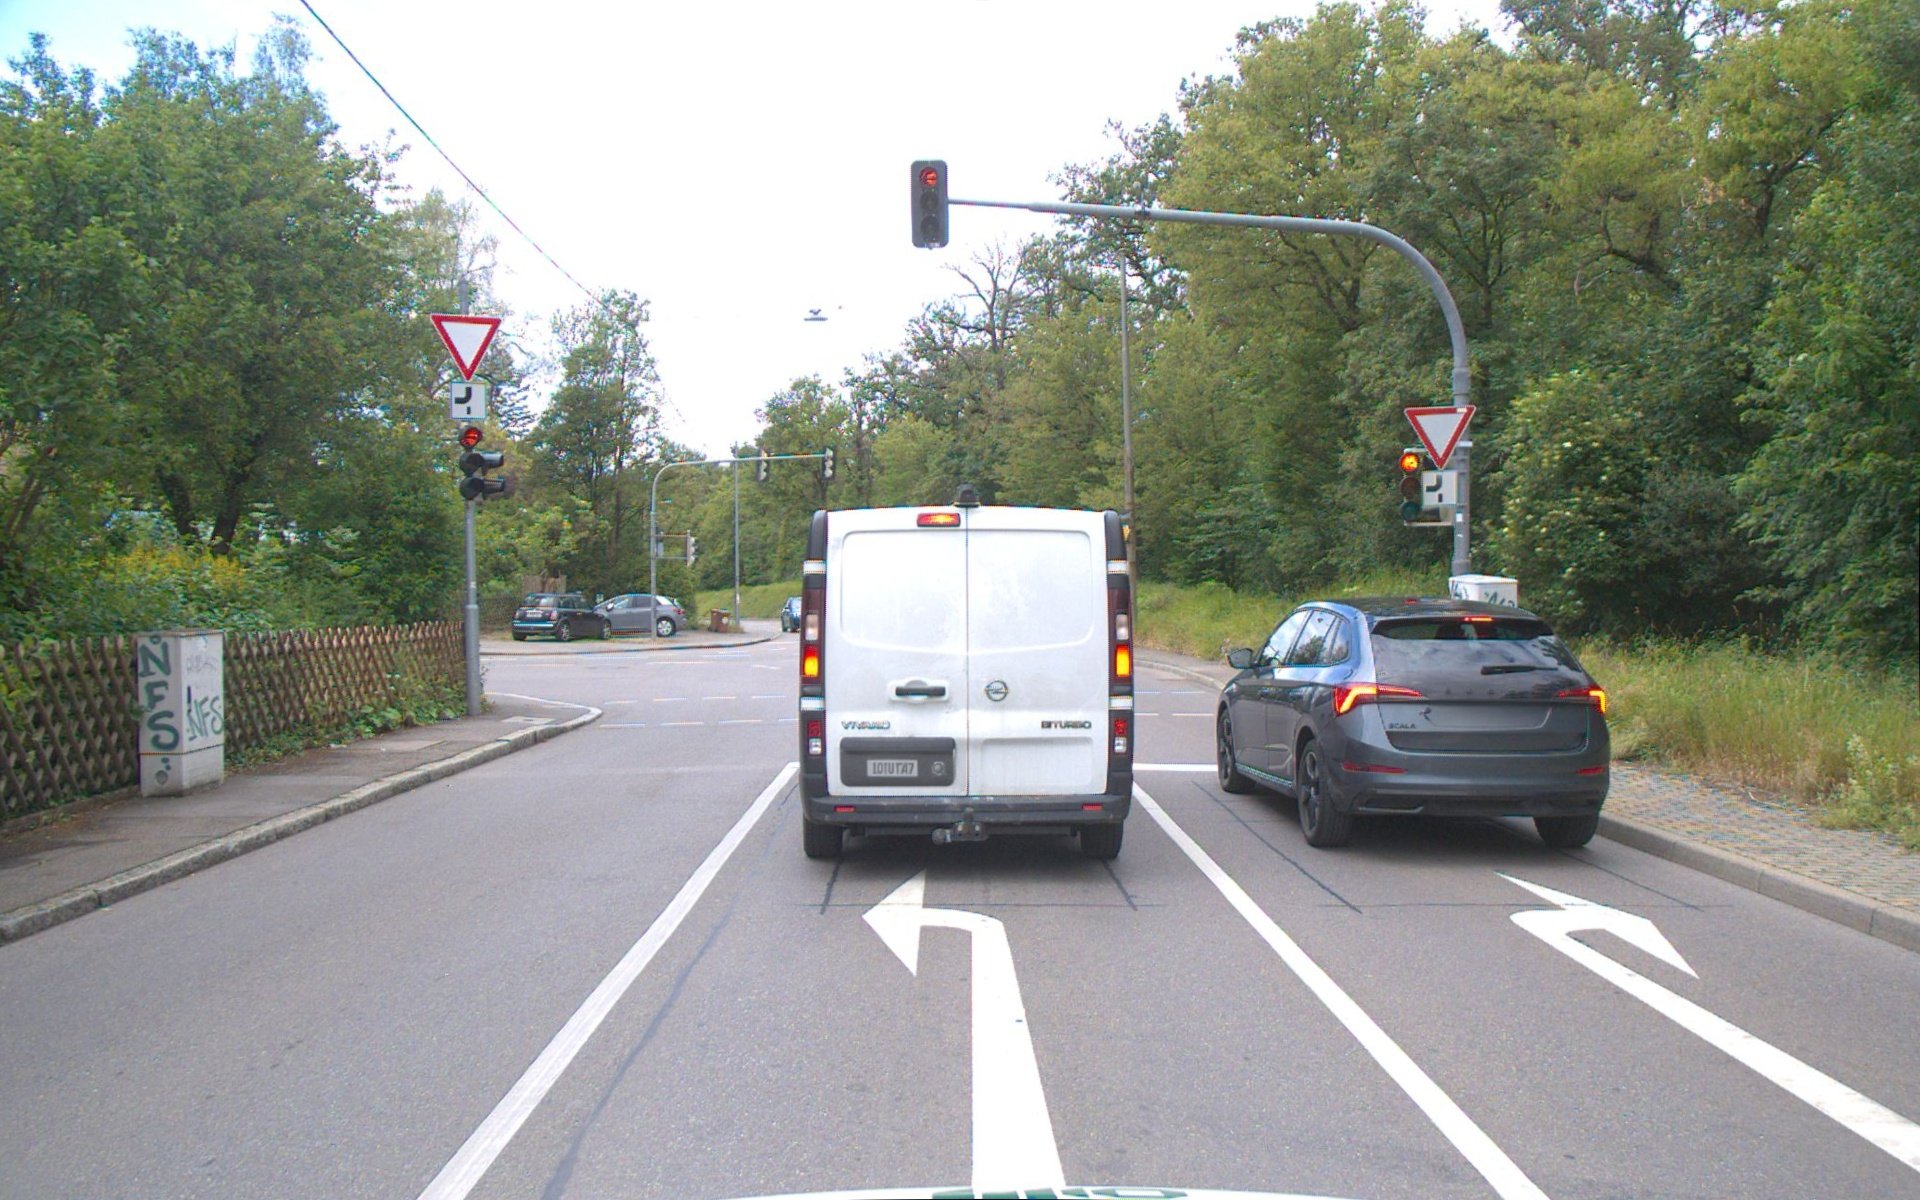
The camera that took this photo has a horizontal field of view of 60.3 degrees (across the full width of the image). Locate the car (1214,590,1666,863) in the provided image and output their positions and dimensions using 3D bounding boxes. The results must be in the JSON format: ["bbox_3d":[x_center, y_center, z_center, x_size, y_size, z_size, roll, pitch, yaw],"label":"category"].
[{"bbox_3d":[2.935,0.674,11.039,1.756,1.476,3.999,0,0,-2],"label":"car"}]

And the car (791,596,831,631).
[{"bbox_3d":[-6.993,0.613,77.928,1.820,1.533,3.996,-1,0,-5],"label":"car"}]

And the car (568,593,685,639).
[{"bbox_3d":[-12.141,0.564,60.216,4.022,1.580,1.846,0,1,-18],"label":"car"}]

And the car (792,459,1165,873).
[{"bbox_3d":[-0.007,0.329,10.815,1.878,2.089,4.611,1,0,-3],"label":"car"}]

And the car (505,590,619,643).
[{"bbox_3d":[-11.953,0.482,49.894,1.662,1.474,3.544,2,0,19],"label":"car"}]
